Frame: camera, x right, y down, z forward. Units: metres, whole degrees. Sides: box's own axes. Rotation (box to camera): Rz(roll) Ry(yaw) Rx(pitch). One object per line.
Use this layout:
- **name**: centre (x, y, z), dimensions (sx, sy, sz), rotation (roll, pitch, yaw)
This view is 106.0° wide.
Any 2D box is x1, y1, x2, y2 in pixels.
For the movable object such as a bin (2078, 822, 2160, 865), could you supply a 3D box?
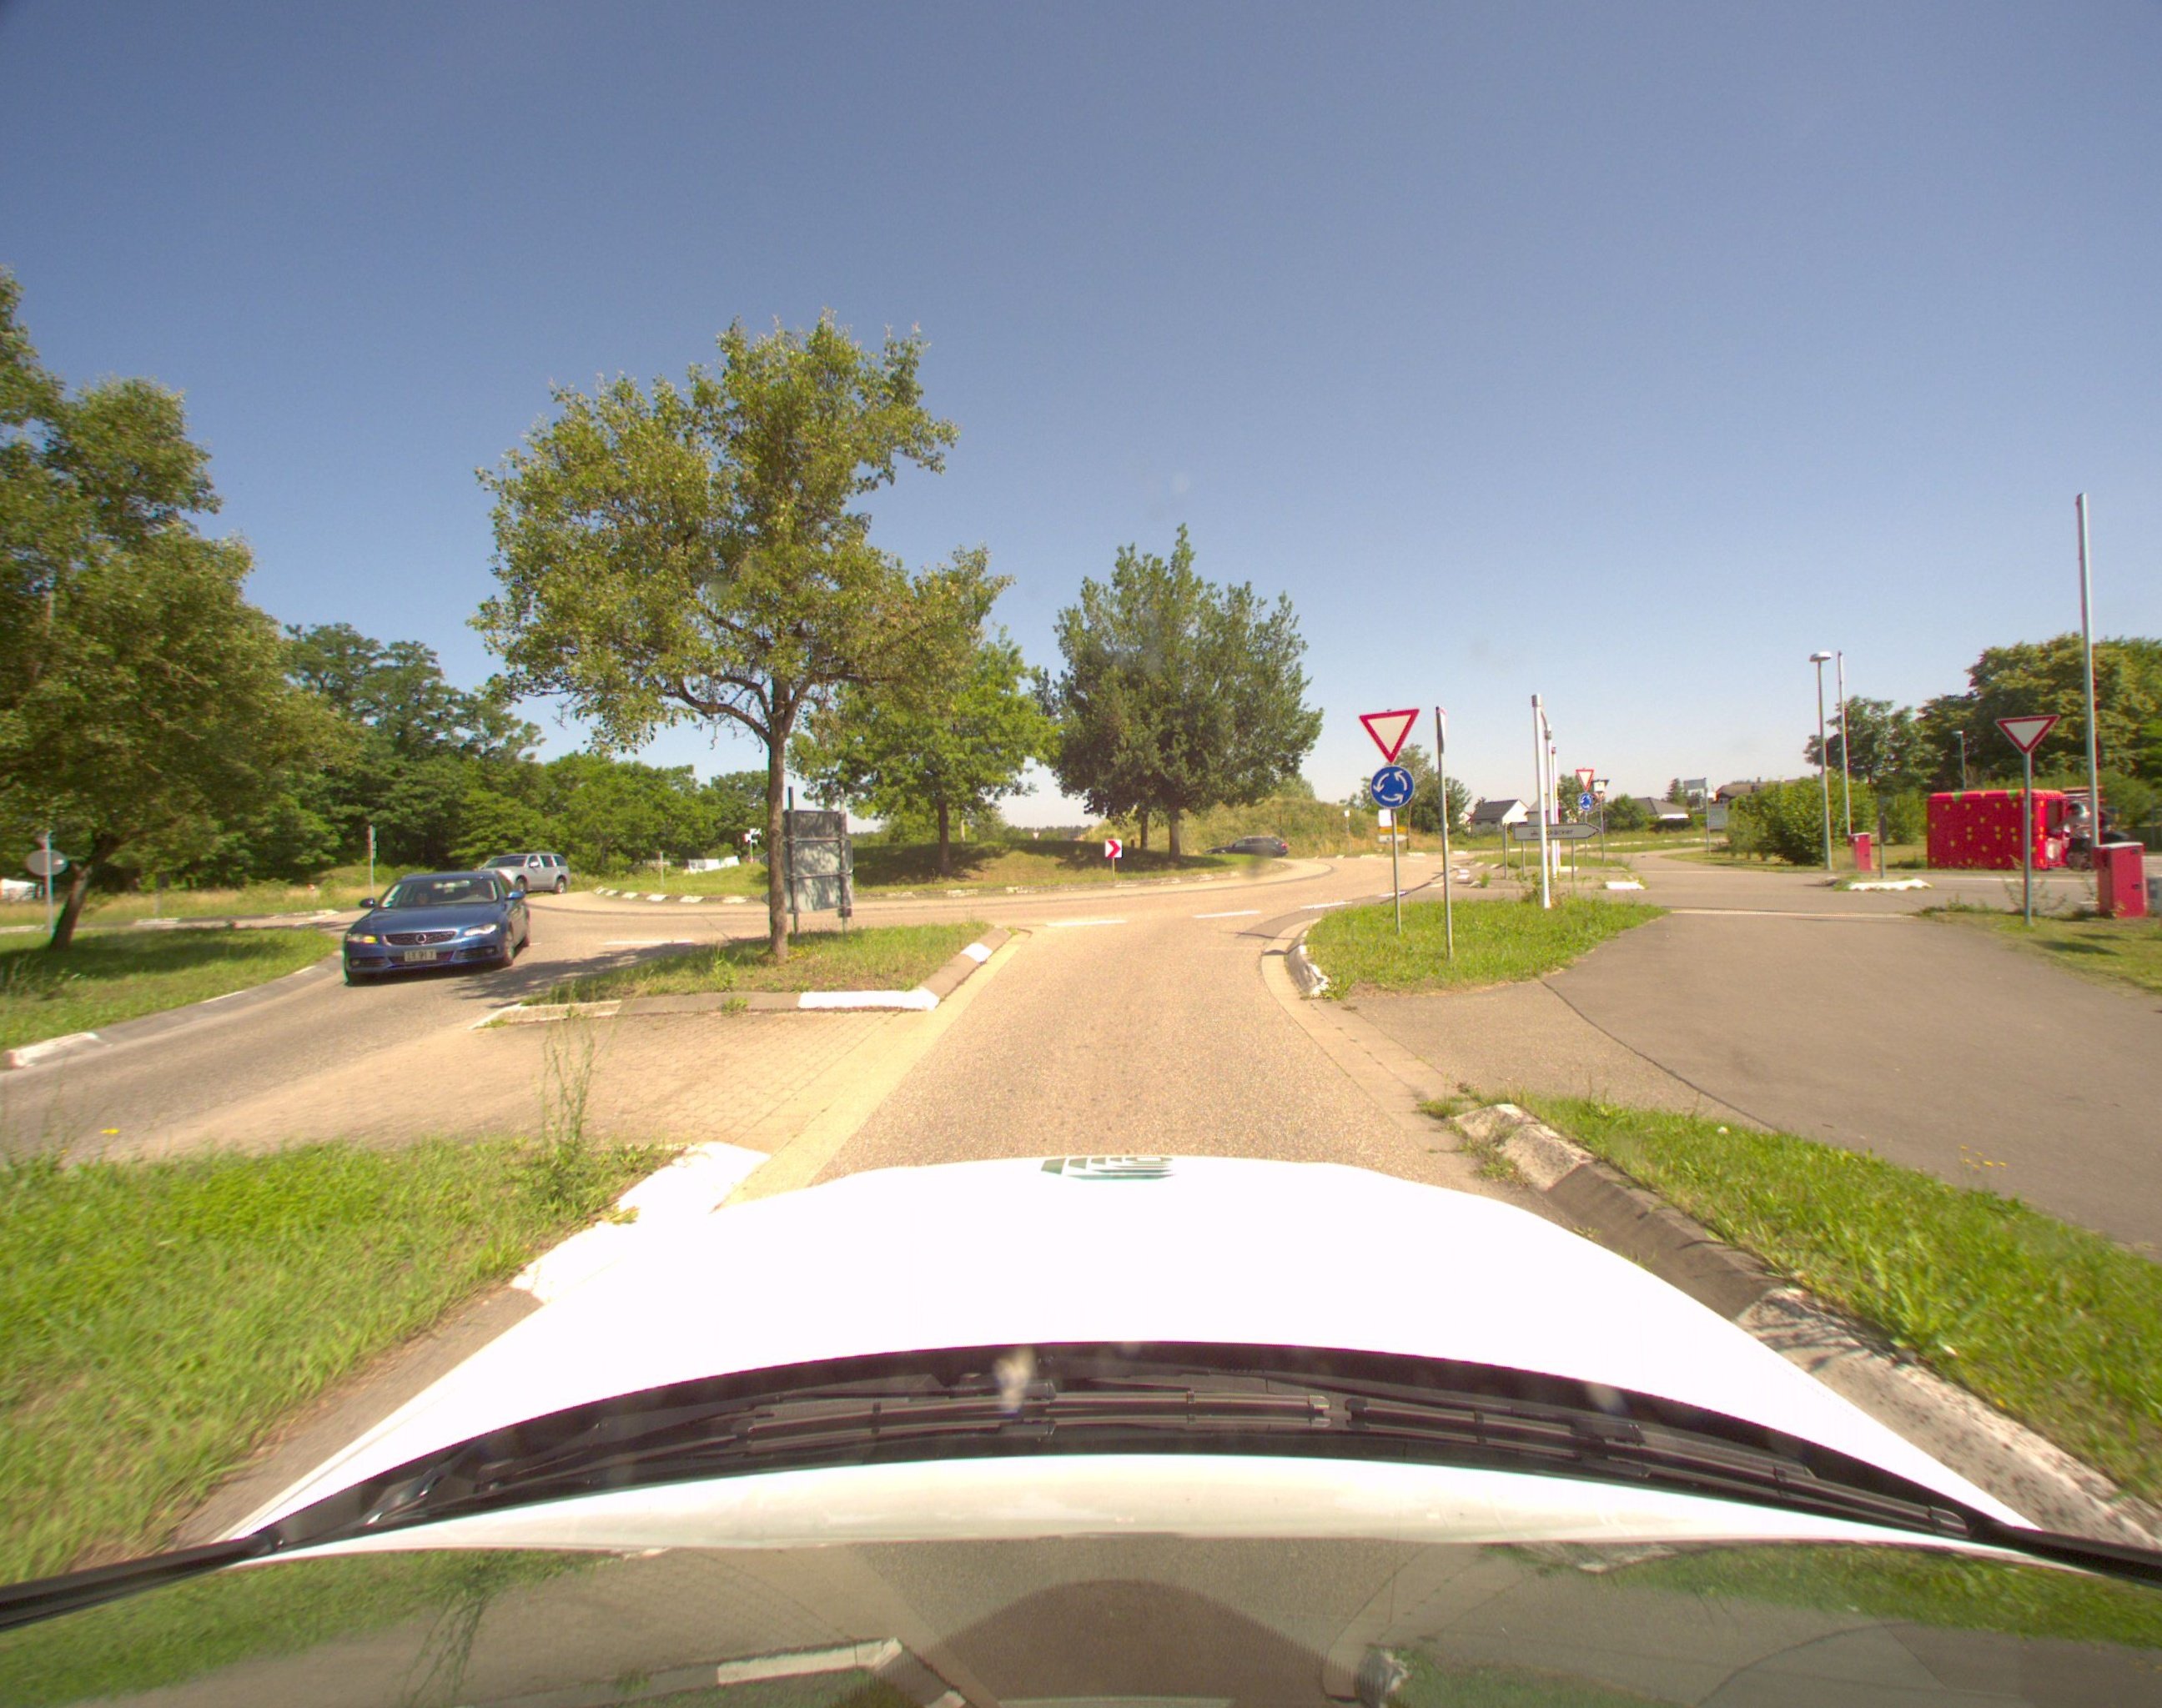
- **movable object such as a bin**: centre (26.166, -0.260, 20.550), dimensions (0.766, 1.046, 1.037), rotation (-2, 1, -9)

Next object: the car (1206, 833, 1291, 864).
- **car**: centre (9.669, -0.327, 47.345), dimensions (4.732, 1.592, 2.005), rotation (-2, 1, 8)

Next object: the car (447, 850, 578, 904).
- **car**: centre (-21.435, 0.805, 30.973), dimensions (1.890, 1.815, 4.590), rotation (-3, 1, -4)

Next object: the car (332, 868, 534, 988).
- **car**: centre (-9.836, 0.989, 12.738), dimensions (1.845, 1.387, 4.380), rotation (-4, 1, -31)

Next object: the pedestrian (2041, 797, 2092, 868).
- **pedestrian**: centre (26.713, -0.579, 22.075), dimensions (0.844, 1.871, 0.766), rotation (-2, 1, -33)

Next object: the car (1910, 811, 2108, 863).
- **car**: centre (28.586, -0.523, 25.213), dimensions (1.729, 1.445, 3.739), rotation (-3, 2, -26)

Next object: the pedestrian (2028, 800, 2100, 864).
- **pedestrian**: centre (25.928, -0.573, 21.492), dimensions (0.812, 1.619, 0.923), rotation (-2, 1, -10)
